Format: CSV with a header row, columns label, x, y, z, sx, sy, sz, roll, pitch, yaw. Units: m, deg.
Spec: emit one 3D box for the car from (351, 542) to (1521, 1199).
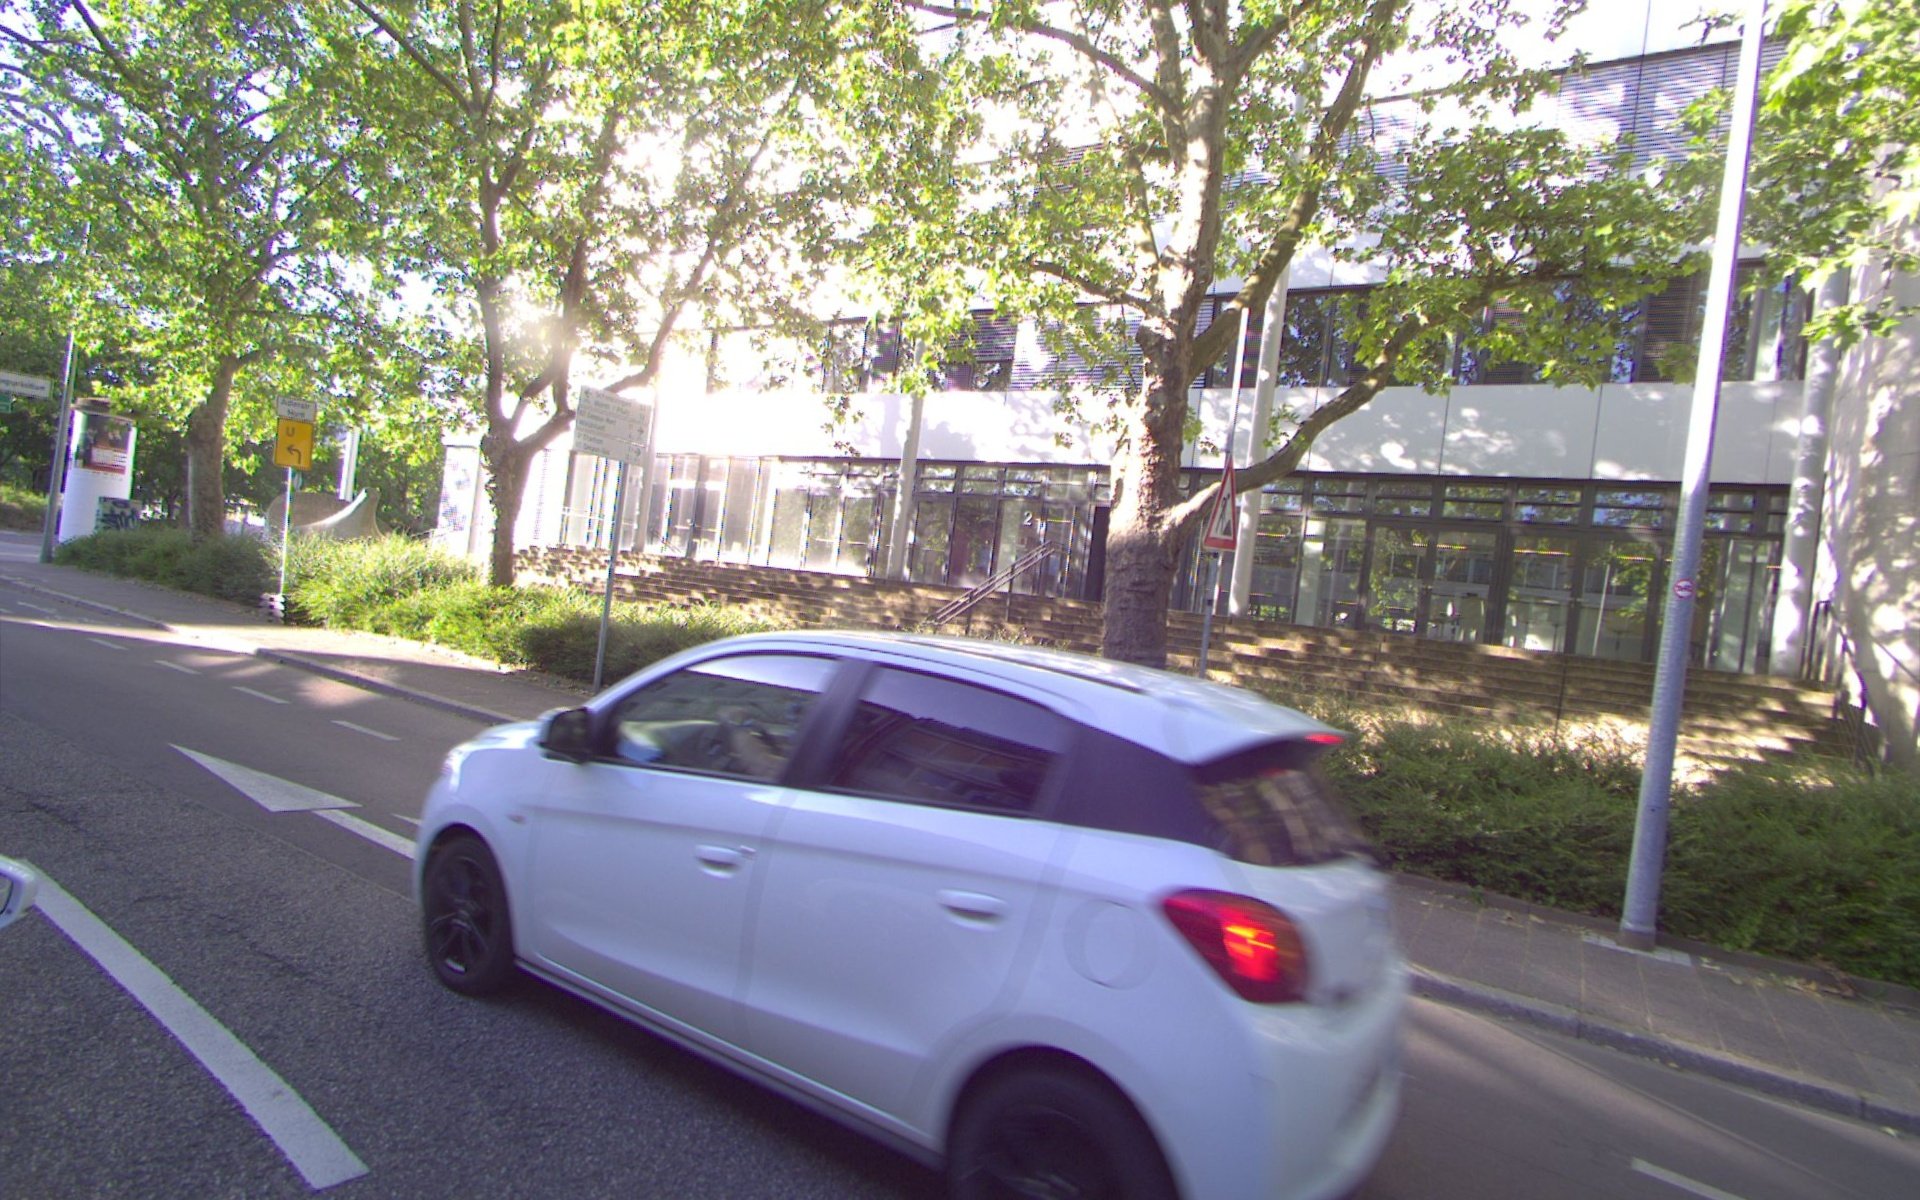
label,x,y,z,sx,sy,sz,roll,pitch,yaw
car,-0.251,0.791,3.507,3.626,1.515,1.682,6,-3,34
